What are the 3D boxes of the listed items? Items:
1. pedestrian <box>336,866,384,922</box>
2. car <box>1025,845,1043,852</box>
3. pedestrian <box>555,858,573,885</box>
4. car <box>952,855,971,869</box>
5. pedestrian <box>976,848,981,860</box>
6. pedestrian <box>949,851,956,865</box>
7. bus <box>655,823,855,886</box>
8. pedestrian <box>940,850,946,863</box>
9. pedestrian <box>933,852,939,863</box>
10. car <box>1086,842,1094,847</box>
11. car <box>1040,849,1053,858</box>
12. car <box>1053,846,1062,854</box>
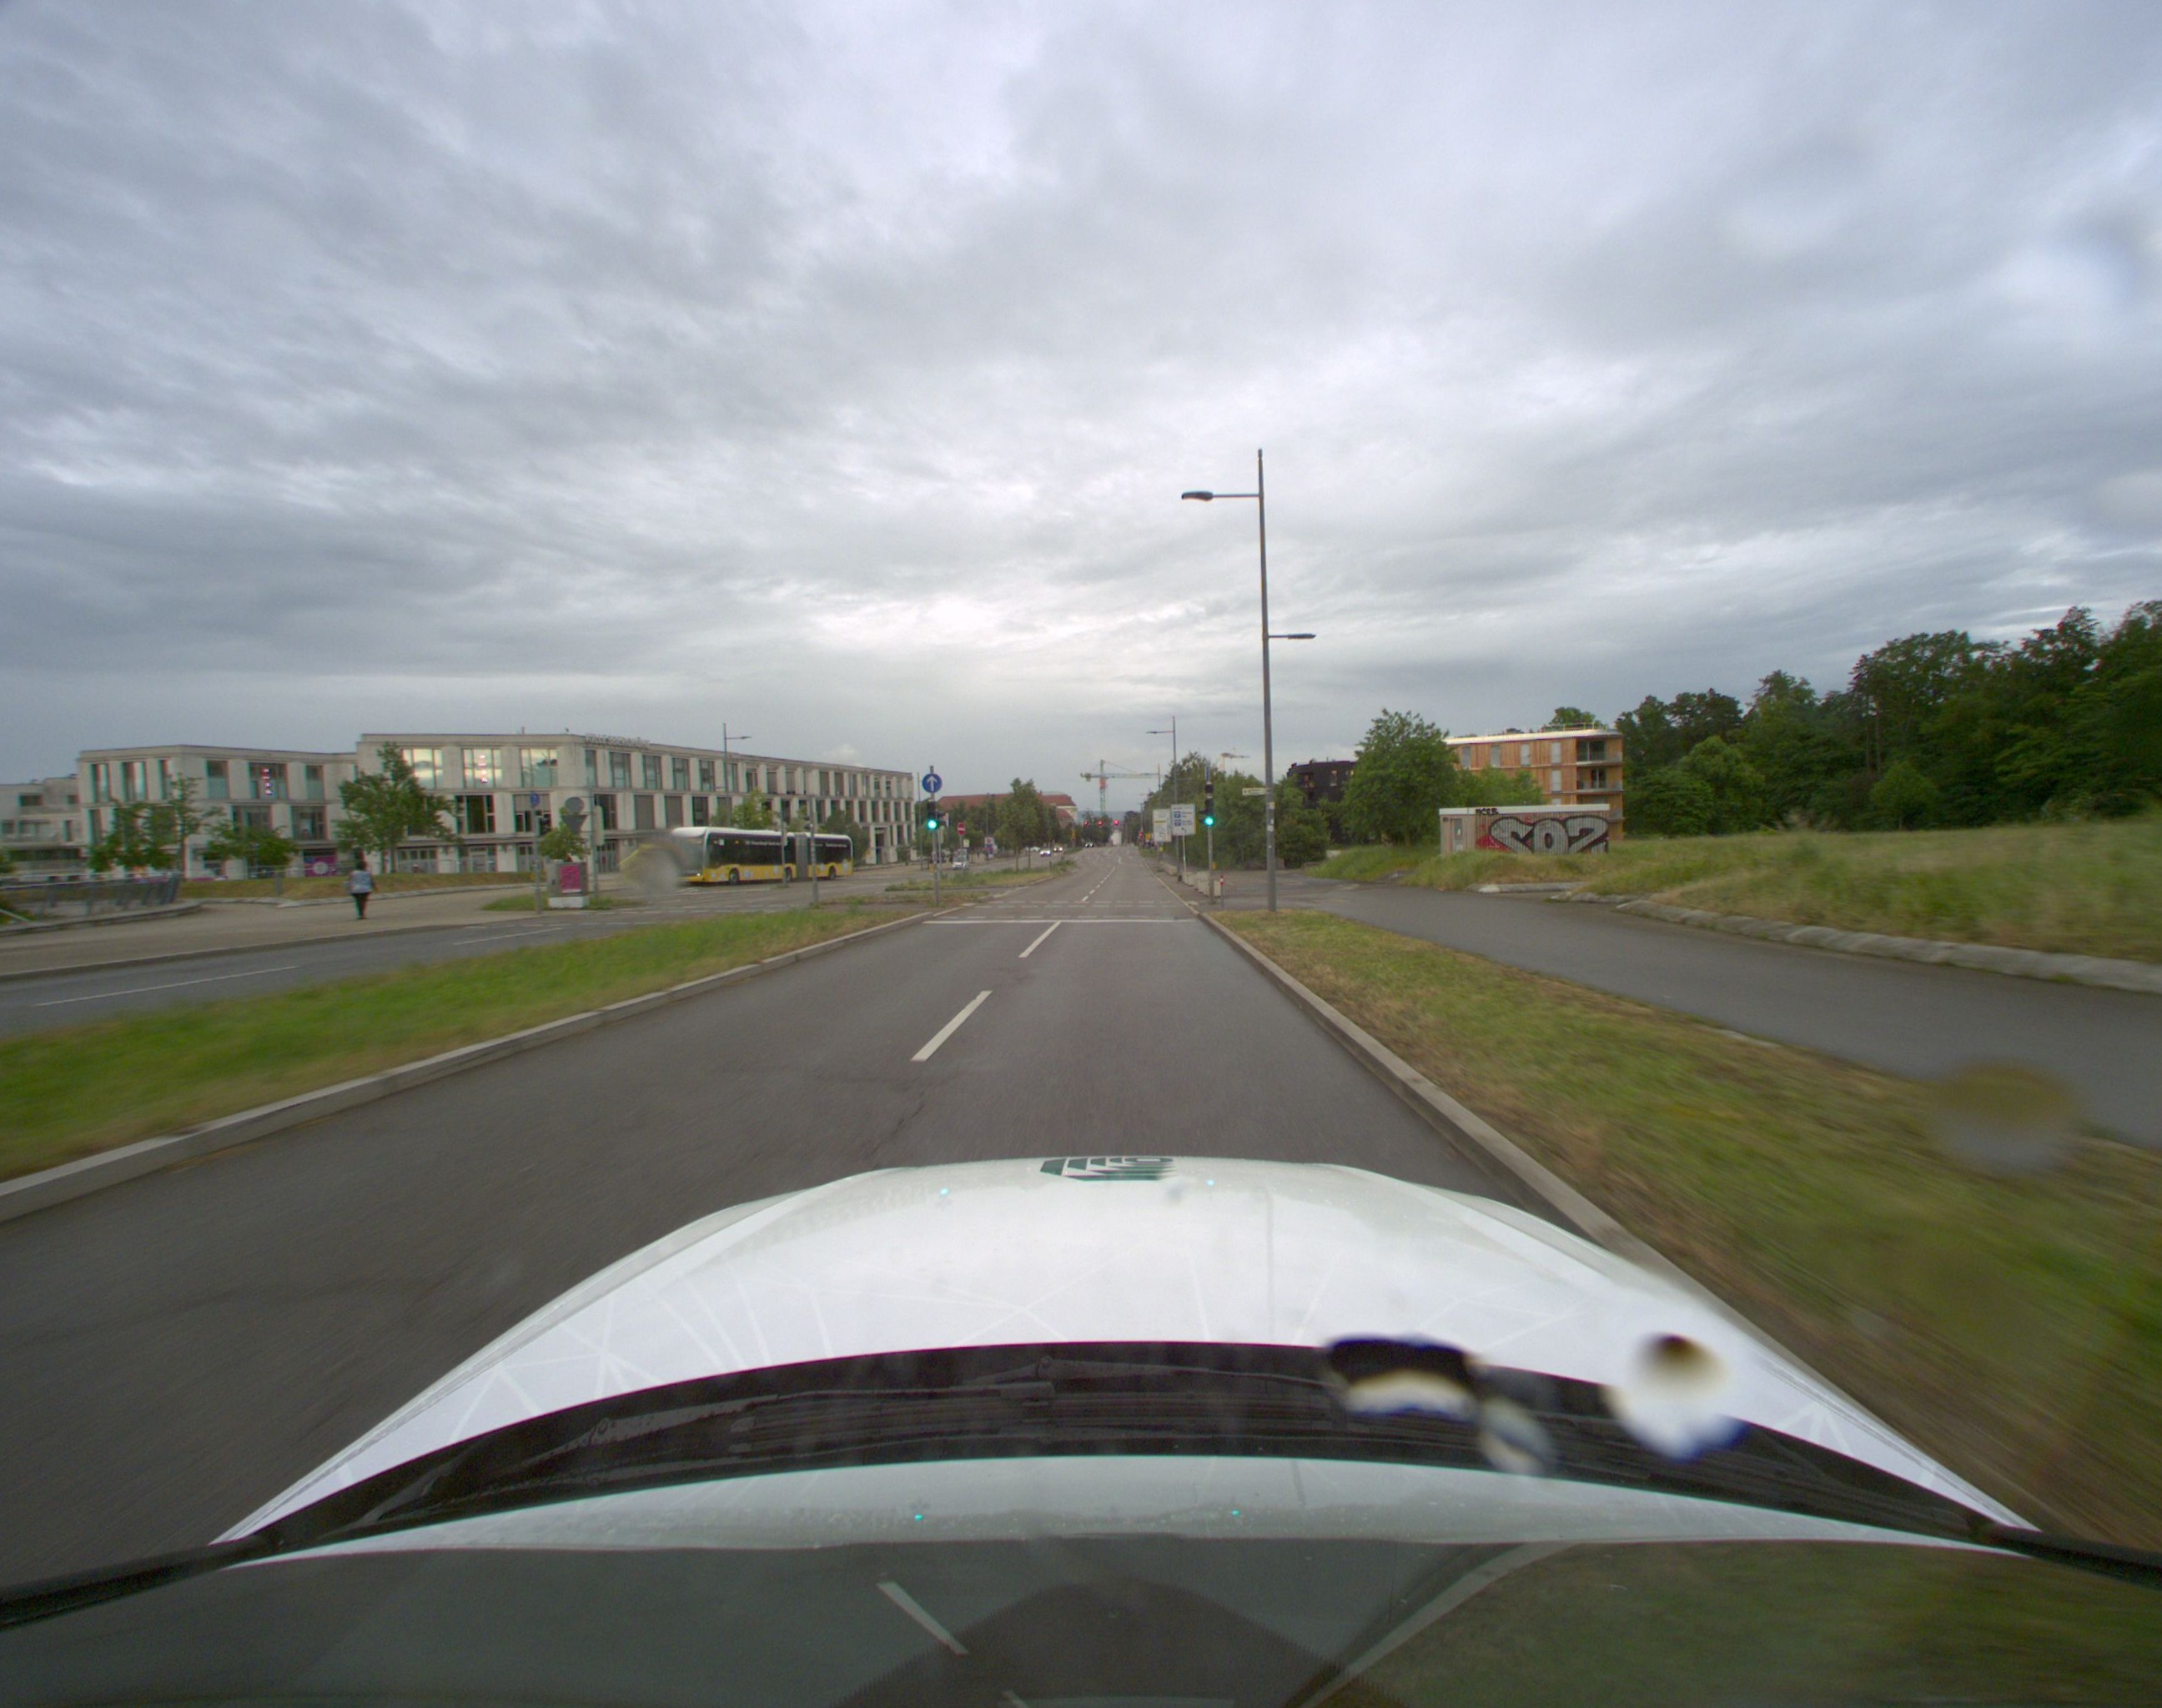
[{"bbox_3d":[-20.919,1.146,23.652,0.837,1.573,0.714,-1,-2,-22],"label":"pedestrian"},{"bbox_3d":[-11.168,-1.270,192.938,3.835,1.494,1.748,-3,-1,31],"label":"car"},{"bbox_3d":[-29.639,1.003,46.700,0.683,1.524,0.715,-1,-2,-15],"label":"pedestrian"},{"bbox_3d":[-14.098,0.957,96.069,1.469,1.494,2.536,-2,-1,9],"label":"car"},{"bbox_3d":[-17.486,-0.047,139.232,0.750,2.014,0.834,-1,-2,-15],"label":"pedestrian"},{"bbox_3d":[-17.956,0.553,113.827,0.750,1.947,0.834,-1,-2,-15],"label":"pedestrian"},{"bbox_3d":[-20.480,0.169,53.788,2.767,3.357,18.278,-2,-1,11],"label":"bus"},{"bbox_3d":[-20.640,0.334,121.636,0.750,1.853,0.834,-1,-2,-15],"label":"pedestrian"},{"bbox_3d":[-21.619,0.489,121.837,0.835,1.532,0.748,-2,-1,-10],"label":"pedestrian"},{"bbox_3d":[2.590,-2.715,232.355,1.759,1.494,4.077,-2,-1,8],"label":"car"},{"bbox_3d":[-6.431,-0.094,151.569,1.760,1.494,4.076,-2,-1,7],"label":"car"},{"bbox_3d":[-5.115,-0.903,179.590,1.766,1.494,4.062,-2,-1,-4],"label":"car"}]
